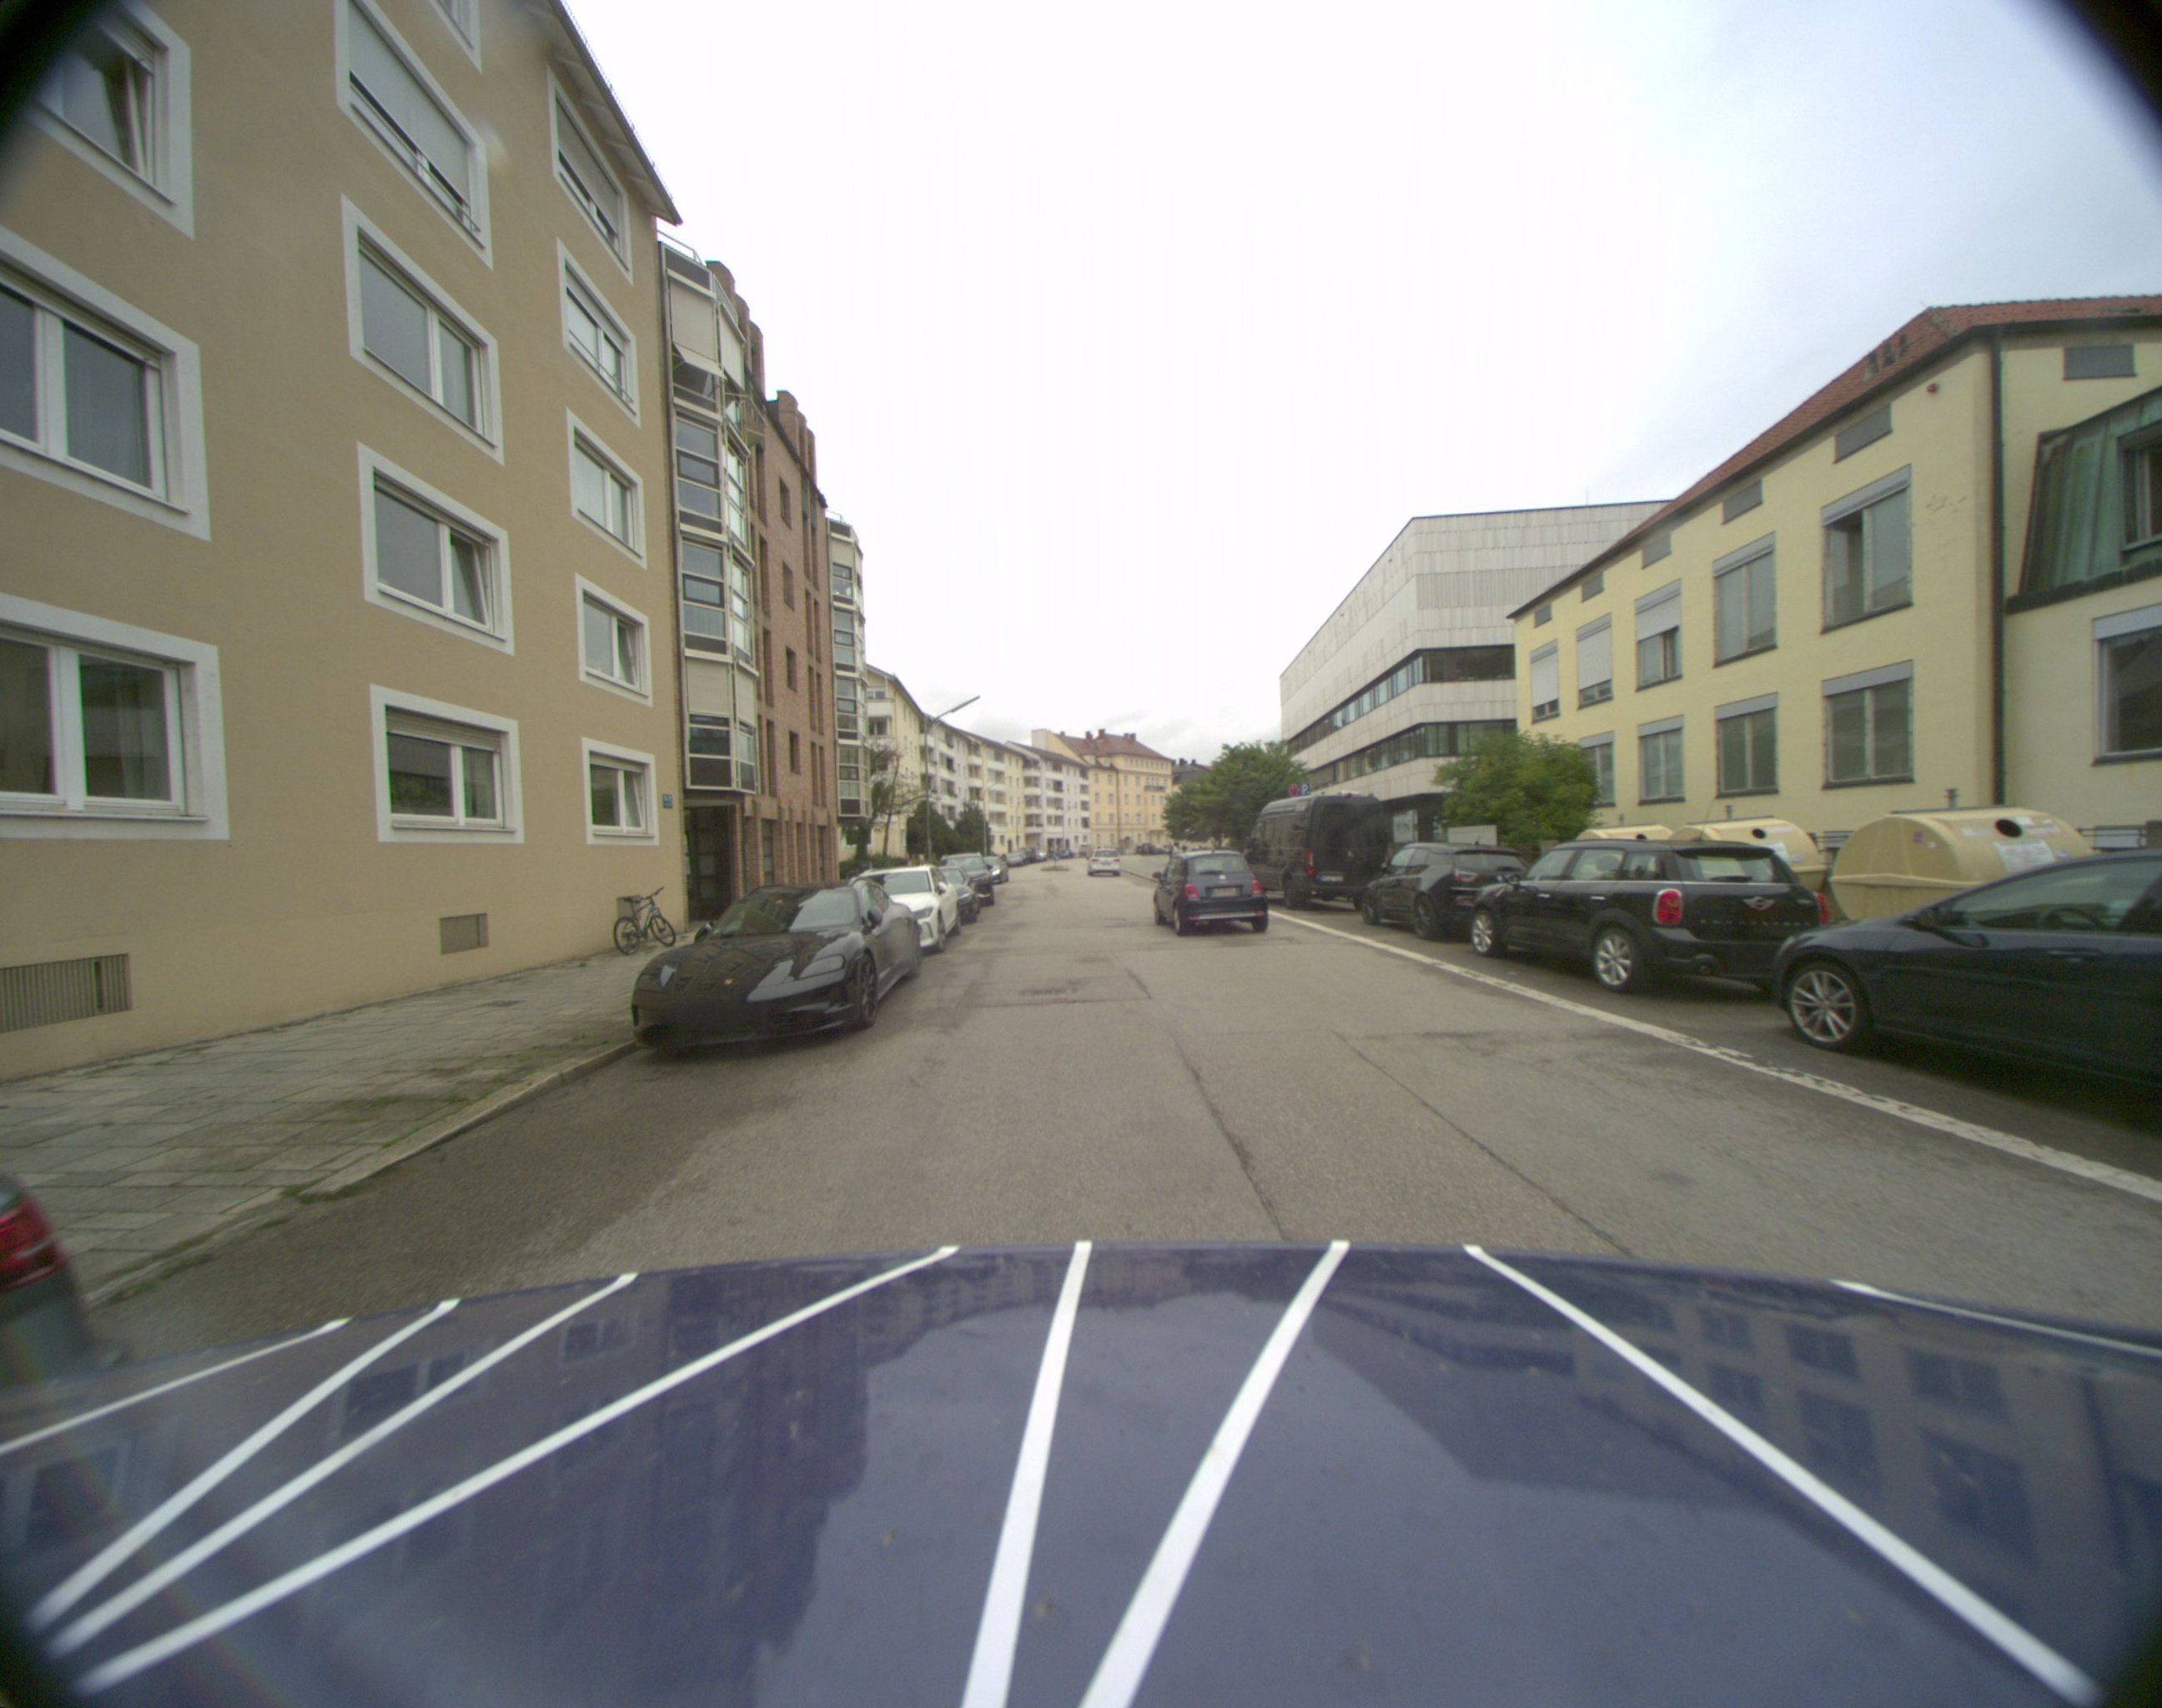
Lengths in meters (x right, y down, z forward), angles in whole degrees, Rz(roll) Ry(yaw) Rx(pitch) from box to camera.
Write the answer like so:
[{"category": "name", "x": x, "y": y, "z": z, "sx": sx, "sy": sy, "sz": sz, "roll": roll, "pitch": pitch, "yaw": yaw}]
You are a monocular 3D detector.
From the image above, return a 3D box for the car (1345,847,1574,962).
[{"category": "car", "x": 6.254, "y": 0.717, "z": 13.226, "sx": 1.884, "sy": 1.627, "sz": 4.349, "roll": 2, "pitch": 0, "yaw": 2}]

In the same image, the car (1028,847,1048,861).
[{"category": "car", "x": -5.340, "y": -0.034, "z": 95.017, "sx": 1.998, "sy": 1.630, "sz": 4.001, "roll": -1, "pitch": 1, "yaw": 4}]

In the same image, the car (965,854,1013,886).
[{"category": "car", "x": -4.756, "y": 0.796, "z": 39.829, "sx": 1.882, "sy": 1.428, "sz": 4.333, "roll": -4, "pitch": 1, "yaw": 0}]

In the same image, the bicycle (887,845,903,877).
[{"category": "bicycle", "x": -12.030, "y": 0.420, "z": 49.186, "sx": 0.653, "sy": 2.002, "sz": 1.992, "roll": -2, "pitch": 1, "yaw": -3}]

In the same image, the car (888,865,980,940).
[{"category": "car", "x": -3.563, "y": 1.105, "z": 19.211, "sx": 1.762, "sy": 1.358, "sz": 4.777, "roll": -6, "pitch": 1, "yaw": -6}]

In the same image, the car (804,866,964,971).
[{"category": "car", "x": -3.304, "y": 0.993, "z": 13.791, "sx": 1.859, "sy": 1.406, "sz": 5.012, "roll": -2, "pitch": 0, "yaw": -4}]

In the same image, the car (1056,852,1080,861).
[{"category": "car", "x": -1.917, "y": 0.376, "z": 111.488, "sx": 1.680, "sy": 1.281, "sz": 4.007, "roll": -1, "pitch": 1, "yaw": 29}]

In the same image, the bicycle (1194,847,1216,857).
[{"category": "bicycle", "x": 13.420, "y": -0.185, "z": 82.081, "sx": 2.146, "sy": 0.985, "sz": 0.798, "roll": -2, "pitch": 1, "yaw": -13}]

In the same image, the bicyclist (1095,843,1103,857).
[{"category": "bicyclist", "x": 1.768, "y": -0.426, "z": 73.881, "sx": 0.618, "sy": 1.343, "sz": 0.832, "roll": -2, "pitch": 1, "yaw": -3}]

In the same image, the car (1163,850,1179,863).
[{"category": "car", "x": 14.538, "y": 0.403, "z": 123.112, "sx": 1.890, "sy": 2.002, "sz": 4.004, "roll": -1, "pitch": 1, "yaw": 16}]

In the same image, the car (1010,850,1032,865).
[{"category": "car", "x": -6.491, "y": 0.375, "z": 82.226, "sx": 1.824, "sy": 1.467, "sz": 4.001, "roll": -2, "pitch": 0, "yaw": 3}]

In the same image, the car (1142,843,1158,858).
[{"category": "car", "x": 10.255, "y": -0.533, "z": 112.182, "sx": 1.891, "sy": 2.002, "sz": 4.003, "roll": -2, "pitch": 1, "yaw": 12}]

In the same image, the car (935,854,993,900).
[{"category": "car", "x": -4.394, "y": 0.813, "z": 29.196, "sx": 1.883, "sy": 1.582, "sz": 4.505, "roll": -2, "pitch": 1, "yaw": -5}]

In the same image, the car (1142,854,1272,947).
[{"category": "car", "x": 2.295, "y": 0.799, "z": 14.801, "sx": 1.665, "sy": 1.466, "sz": 3.706, "roll": -3, "pitch": 1, "yaw": -3}]

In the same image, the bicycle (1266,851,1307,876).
[{"category": "bicycle", "x": 10.657, "y": 0.488, "z": 39.456, "sx": 1.914, "sy": 1.187, "sz": 0.745, "roll": -2, "pitch": 1, "yaw": -2}]

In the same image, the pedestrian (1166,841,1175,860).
[{"category": "pedestrian", "x": 8.526, "y": -0.300, "z": 72.333, "sx": 0.787, "sy": 1.776, "sz": 0.516, "roll": -2, "pitch": 1, "yaw": -3}]

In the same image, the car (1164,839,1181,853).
[{"category": "car", "x": 16.339, "y": -1.411, "z": 134.913, "sx": 1.890, "sy": 2.343, "sz": 4.006, "roll": -1, "pitch": 1, "yaw": 23}]

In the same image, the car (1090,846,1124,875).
[{"category": "car", "x": 1.516, "y": 0.386, "z": 46.002, "sx": 1.797, "sy": 1.663, "sz": 4.148, "roll": 0, "pitch": 0, "yaw": -1}]

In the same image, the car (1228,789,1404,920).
[{"category": "car", "x": 5.760, "y": -0.008, "z": 19.783, "sx": 2.219, "sy": 2.837, "sz": 6.193, "roll": 1, "pitch": 1, "yaw": -4}]

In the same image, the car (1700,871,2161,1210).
[{"category": "car", "x": 5.942, "y": 0.909, "z": 3.962, "sx": 1.917, "sy": 1.473, "sz": 4.533, "roll": 1, "pitch": 0, "yaw": 4}]

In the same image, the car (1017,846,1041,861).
[{"category": "car", "x": -5.918, "y": -0.103, "z": 86.911, "sx": 1.998, "sy": 1.587, "sz": 4.001, "roll": -1, "pitch": 1, "yaw": 5}]

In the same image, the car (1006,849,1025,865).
[{"category": "car", "x": -6.640, "y": 0.290, "z": 77.119, "sx": 1.755, "sy": 1.483, "sz": 3.998, "roll": -2, "pitch": 1, "yaw": -3}]

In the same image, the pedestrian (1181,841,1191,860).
[{"category": "pedestrian", "x": 10.272, "y": -0.358, "z": 74.182, "sx": 0.787, "sy": 1.776, "sz": 0.516, "roll": -2, "pitch": 1, "yaw": -3}]

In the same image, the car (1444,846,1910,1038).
[{"category": "car", "x": 6.171, "y": 0.771, "z": 8.720, "sx": 1.918, "sy": 1.578, "sz": 4.352, "roll": 2, "pitch": 0, "yaw": 1}]

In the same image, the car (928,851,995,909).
[{"category": "car", "x": -3.793, "y": 0.736, "z": 24.510, "sx": 1.883, "sy": 1.636, "sz": 4.640, "roll": -2, "pitch": 1, "yaw": -7}]

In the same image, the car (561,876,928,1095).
[{"category": "car", "x": -3.082, "y": 1.082, "z": 8.396, "sx": 1.960, "sy": 1.406, "sz": 5.111, "roll": -2, "pitch": 1, "yaw": -3}]

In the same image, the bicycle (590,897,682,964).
[{"category": "bicycle", "x": -8.050, "y": 1.350, "z": 13.839, "sx": 0.678, "sy": 1.027, "sz": 1.752, "roll": -1, "pitch": 1, "yaw": -2}]

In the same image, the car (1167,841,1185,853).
[{"category": "car", "x": 16.241, "y": -1.175, "z": 129.727, "sx": 1.890, "sy": 2.002, "sz": 4.006, "roll": -1, "pitch": 1, "yaw": 23}]
